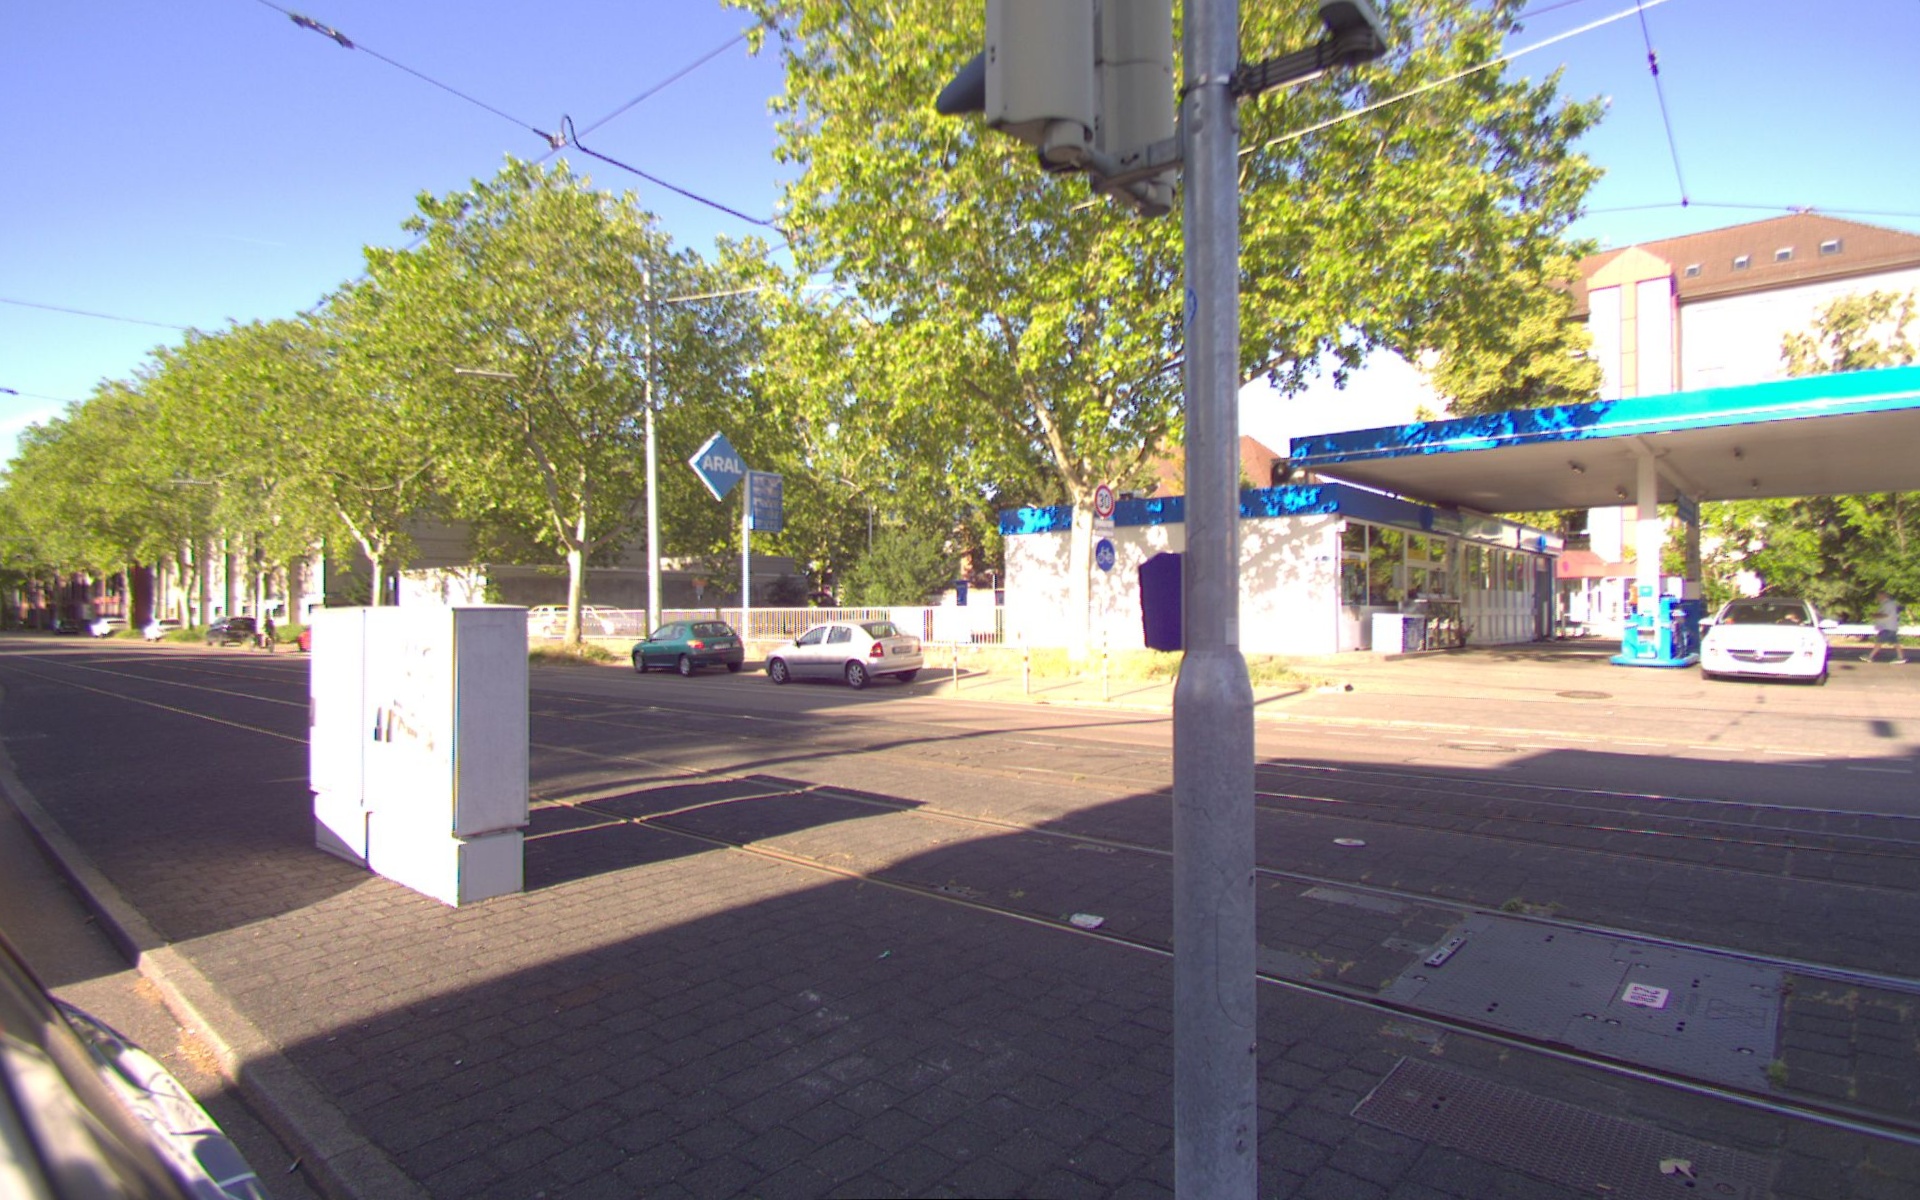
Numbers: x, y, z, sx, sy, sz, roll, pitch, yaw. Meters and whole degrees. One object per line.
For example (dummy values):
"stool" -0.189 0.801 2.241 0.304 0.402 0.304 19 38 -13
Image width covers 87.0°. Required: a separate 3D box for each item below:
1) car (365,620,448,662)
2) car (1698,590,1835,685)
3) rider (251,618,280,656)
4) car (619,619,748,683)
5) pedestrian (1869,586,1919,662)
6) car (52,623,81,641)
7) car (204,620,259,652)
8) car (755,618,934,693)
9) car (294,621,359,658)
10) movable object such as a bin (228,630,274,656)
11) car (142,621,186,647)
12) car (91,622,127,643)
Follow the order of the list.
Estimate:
"car" -21.843 1.570 39.902 3.769 1.455 1.701 -1 2 43
"car" 14.522 0.592 18.137 1.743 1.446 3.882 -1 1 41
"rider" -31.082 1.663 45.295 1.104 1.660 0.717 -1 0 36
"car" -7.389 1.300 26.886 3.606 1.455 1.598 -1 2 43
"pedestrian" 21.542 0.561 23.322 0.847 1.715 0.640 -1 -3 40
"car" -85.036 3.020 96.324 3.731 1.471 1.639 -1 2 43
"car" -40.709 1.988 56.513 3.878 1.603 1.731 -1 2 43
"car" -2.646 1.189 22.610 3.987 1.376 1.666 -2 3 41
"car" -28.792 1.769 45.986 3.377 1.506 1.639 -1 2 43
"movable object such as a bin" -32.218 1.948 45.984 1.831 1.111 1.164 -1 0 36
"car" -53.700 2.291 68.239 3.878 1.552 1.731 -1 2 43
"car" -66.788 2.508 79.405 3.731 1.471 1.639 -1 2 43
